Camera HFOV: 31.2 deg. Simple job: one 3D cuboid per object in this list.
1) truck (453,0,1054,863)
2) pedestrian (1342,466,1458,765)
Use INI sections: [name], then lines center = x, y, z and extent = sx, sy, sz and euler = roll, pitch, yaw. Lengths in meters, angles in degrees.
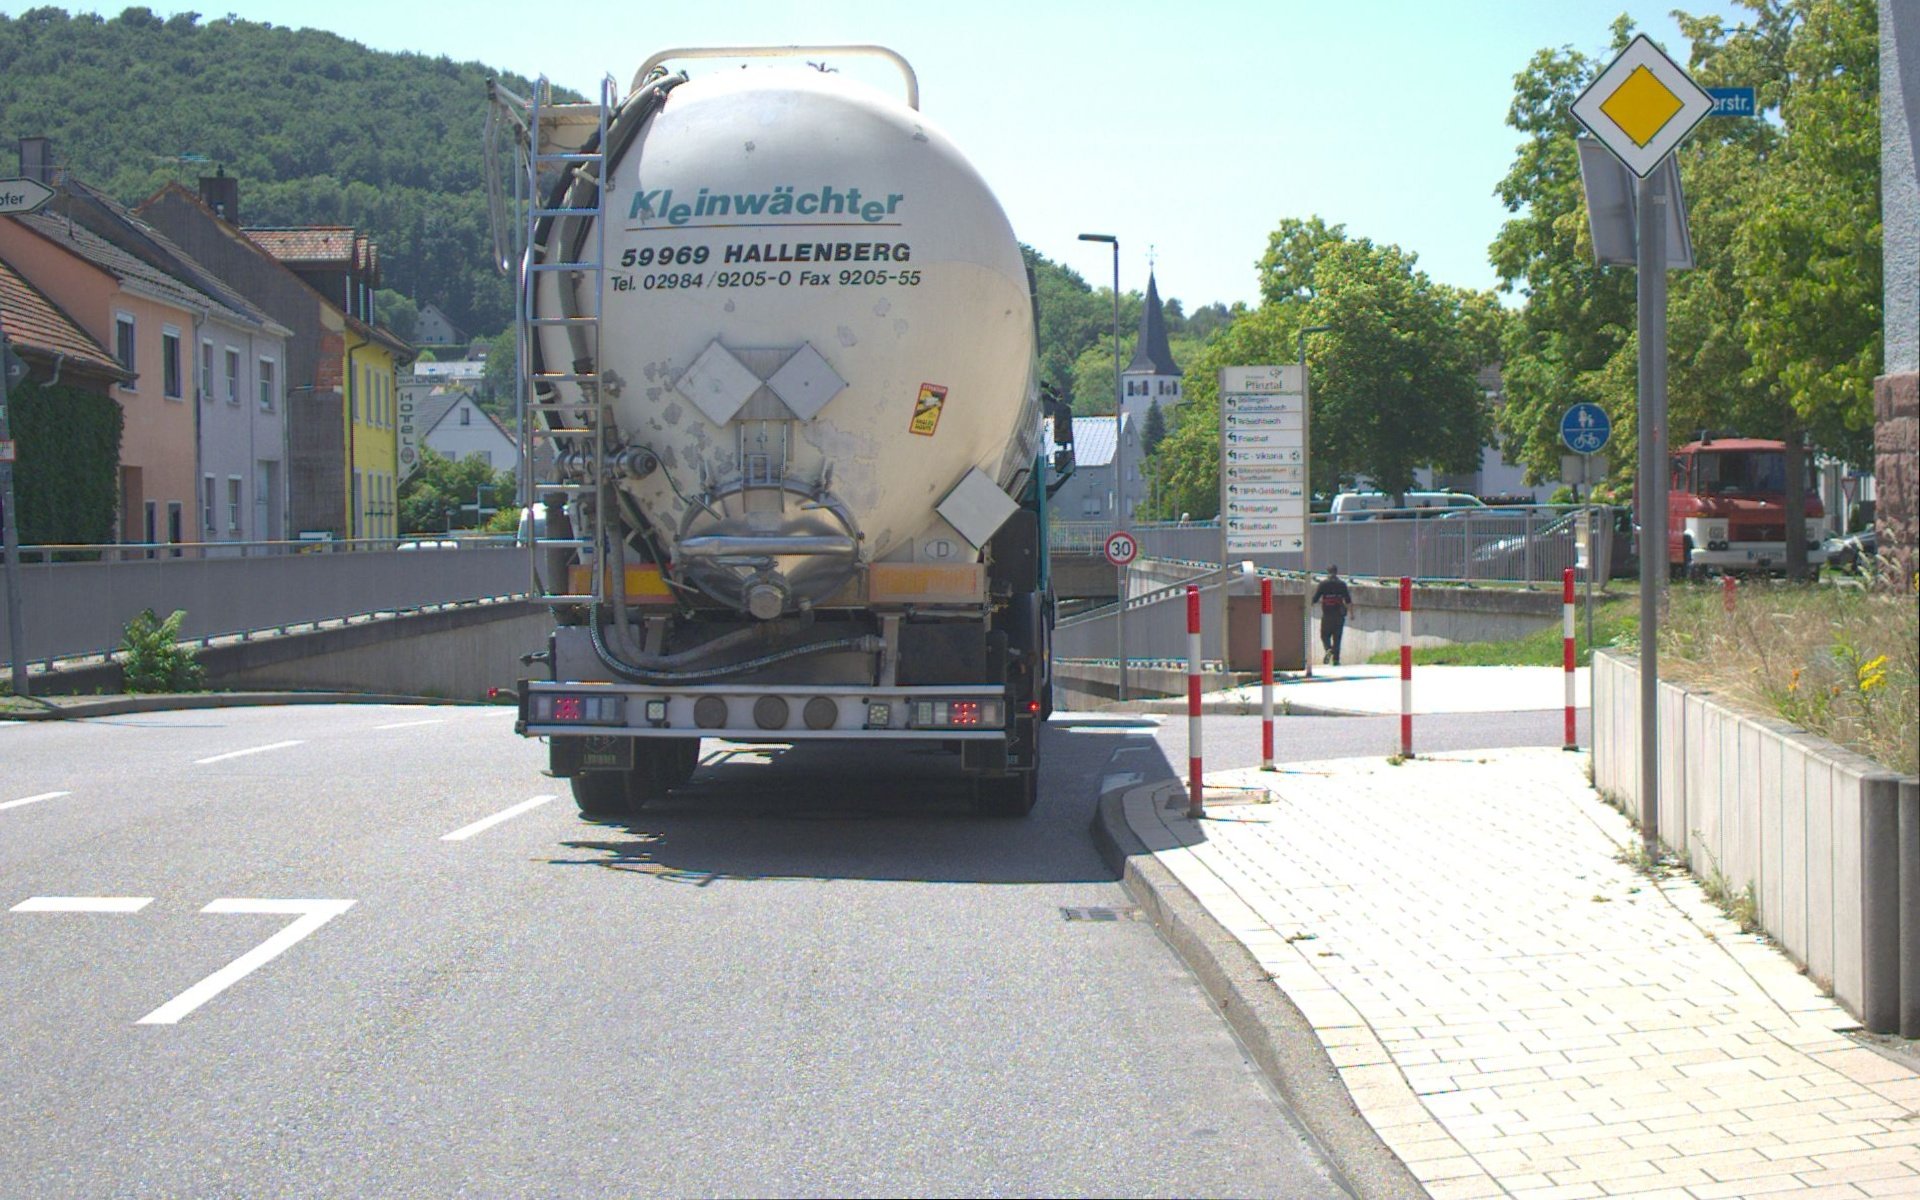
[truck]
center = -1.231, -0.906, 21.335
extent = 2.750, 4.043, 10.891
euler = 0, 1, -3
[pedestrian]
center = 2.544, 0.087, 19.914
extent = 0.571, 1.688, 0.721
euler = 1, 0, 2
